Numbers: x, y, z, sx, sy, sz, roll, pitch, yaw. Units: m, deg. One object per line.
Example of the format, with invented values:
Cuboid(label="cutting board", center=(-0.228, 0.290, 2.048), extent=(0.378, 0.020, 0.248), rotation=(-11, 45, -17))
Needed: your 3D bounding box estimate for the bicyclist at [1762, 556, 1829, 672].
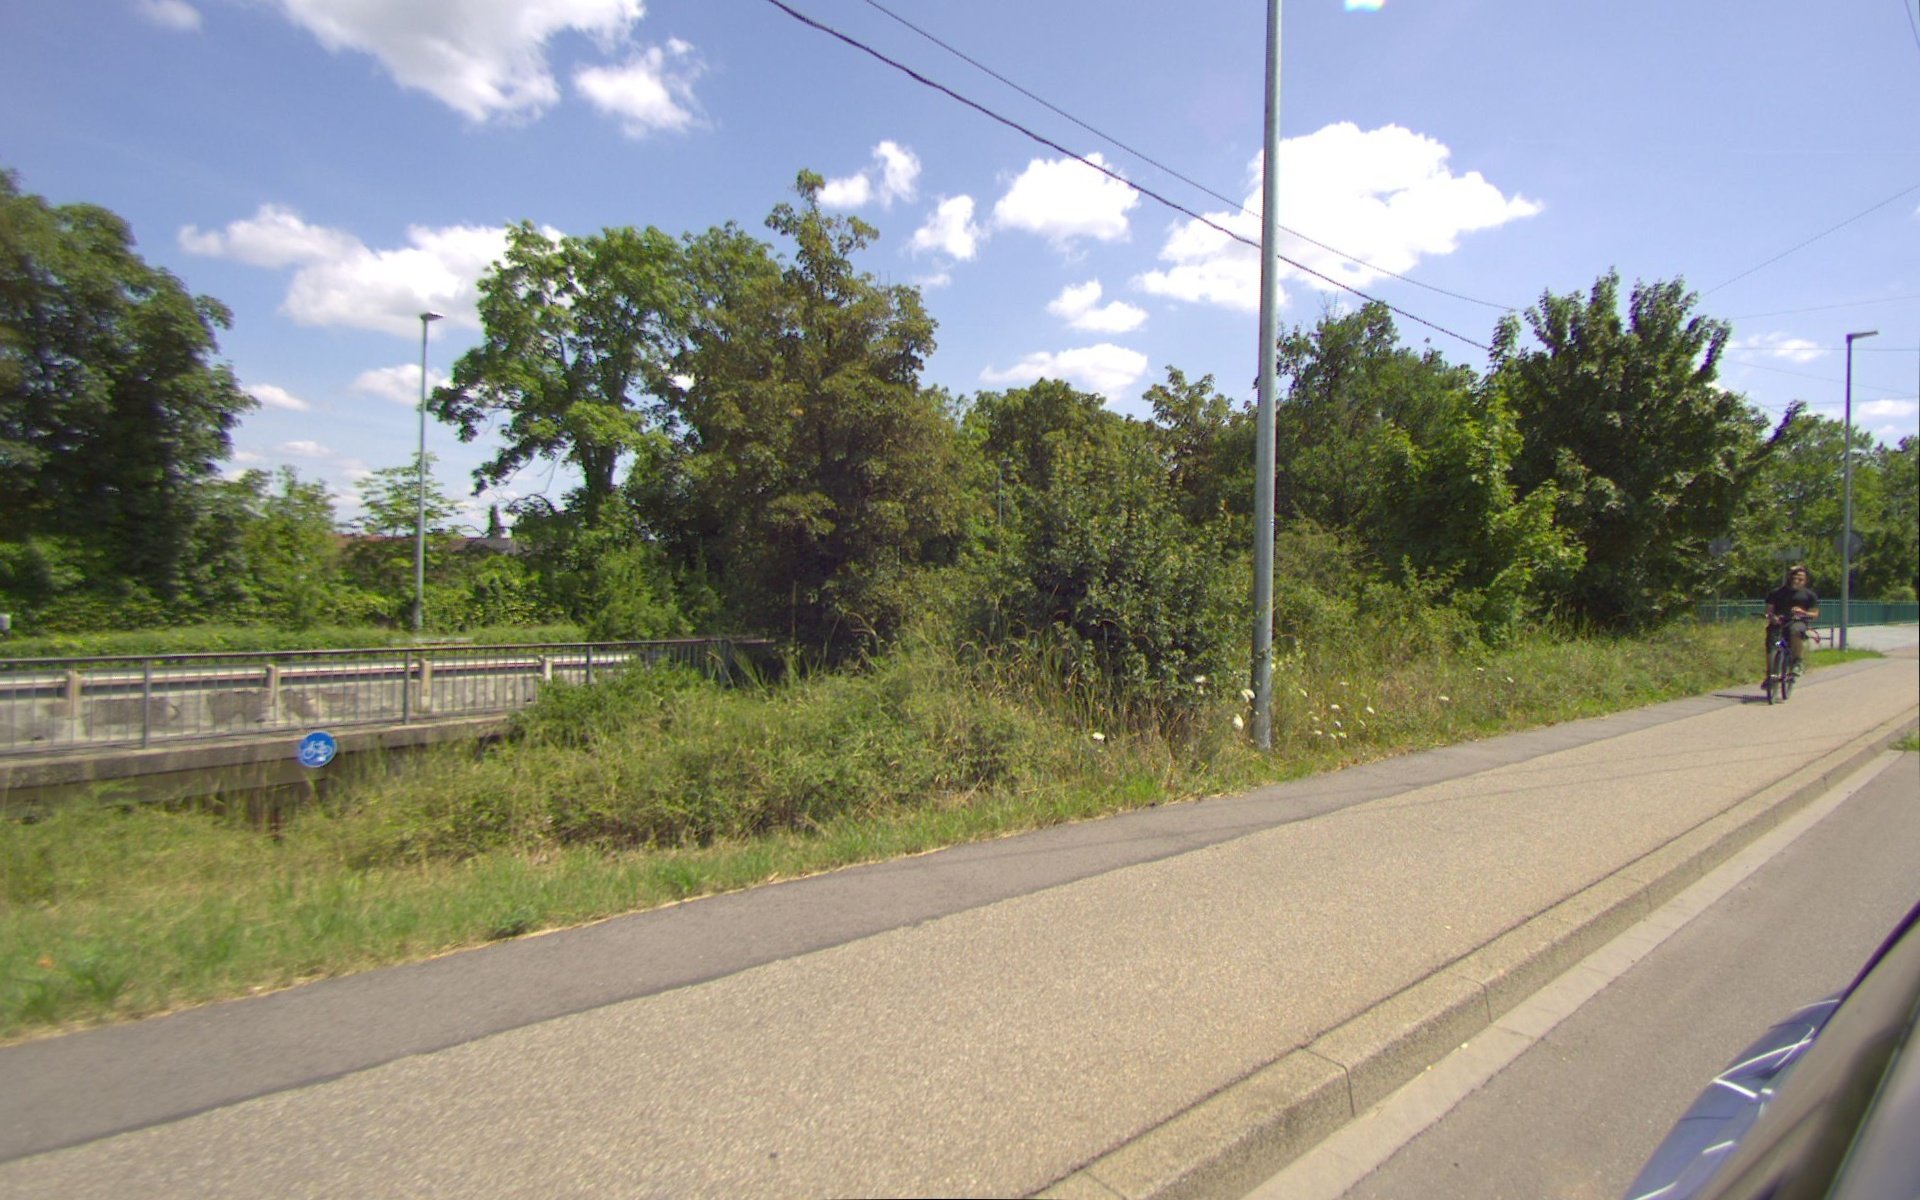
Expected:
Cuboid(label="bicyclist", center=(11.283, 0.189, 13.668), extent=(0.547, 1.514, 0.587), rotation=(2, -2, -36))

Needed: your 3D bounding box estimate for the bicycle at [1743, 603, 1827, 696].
Cuboid(label="bicycle", center=(10.961, 0.642, 13.426), extent=(1.820, 1.167, 0.433), rotation=(2, -2, -36))
